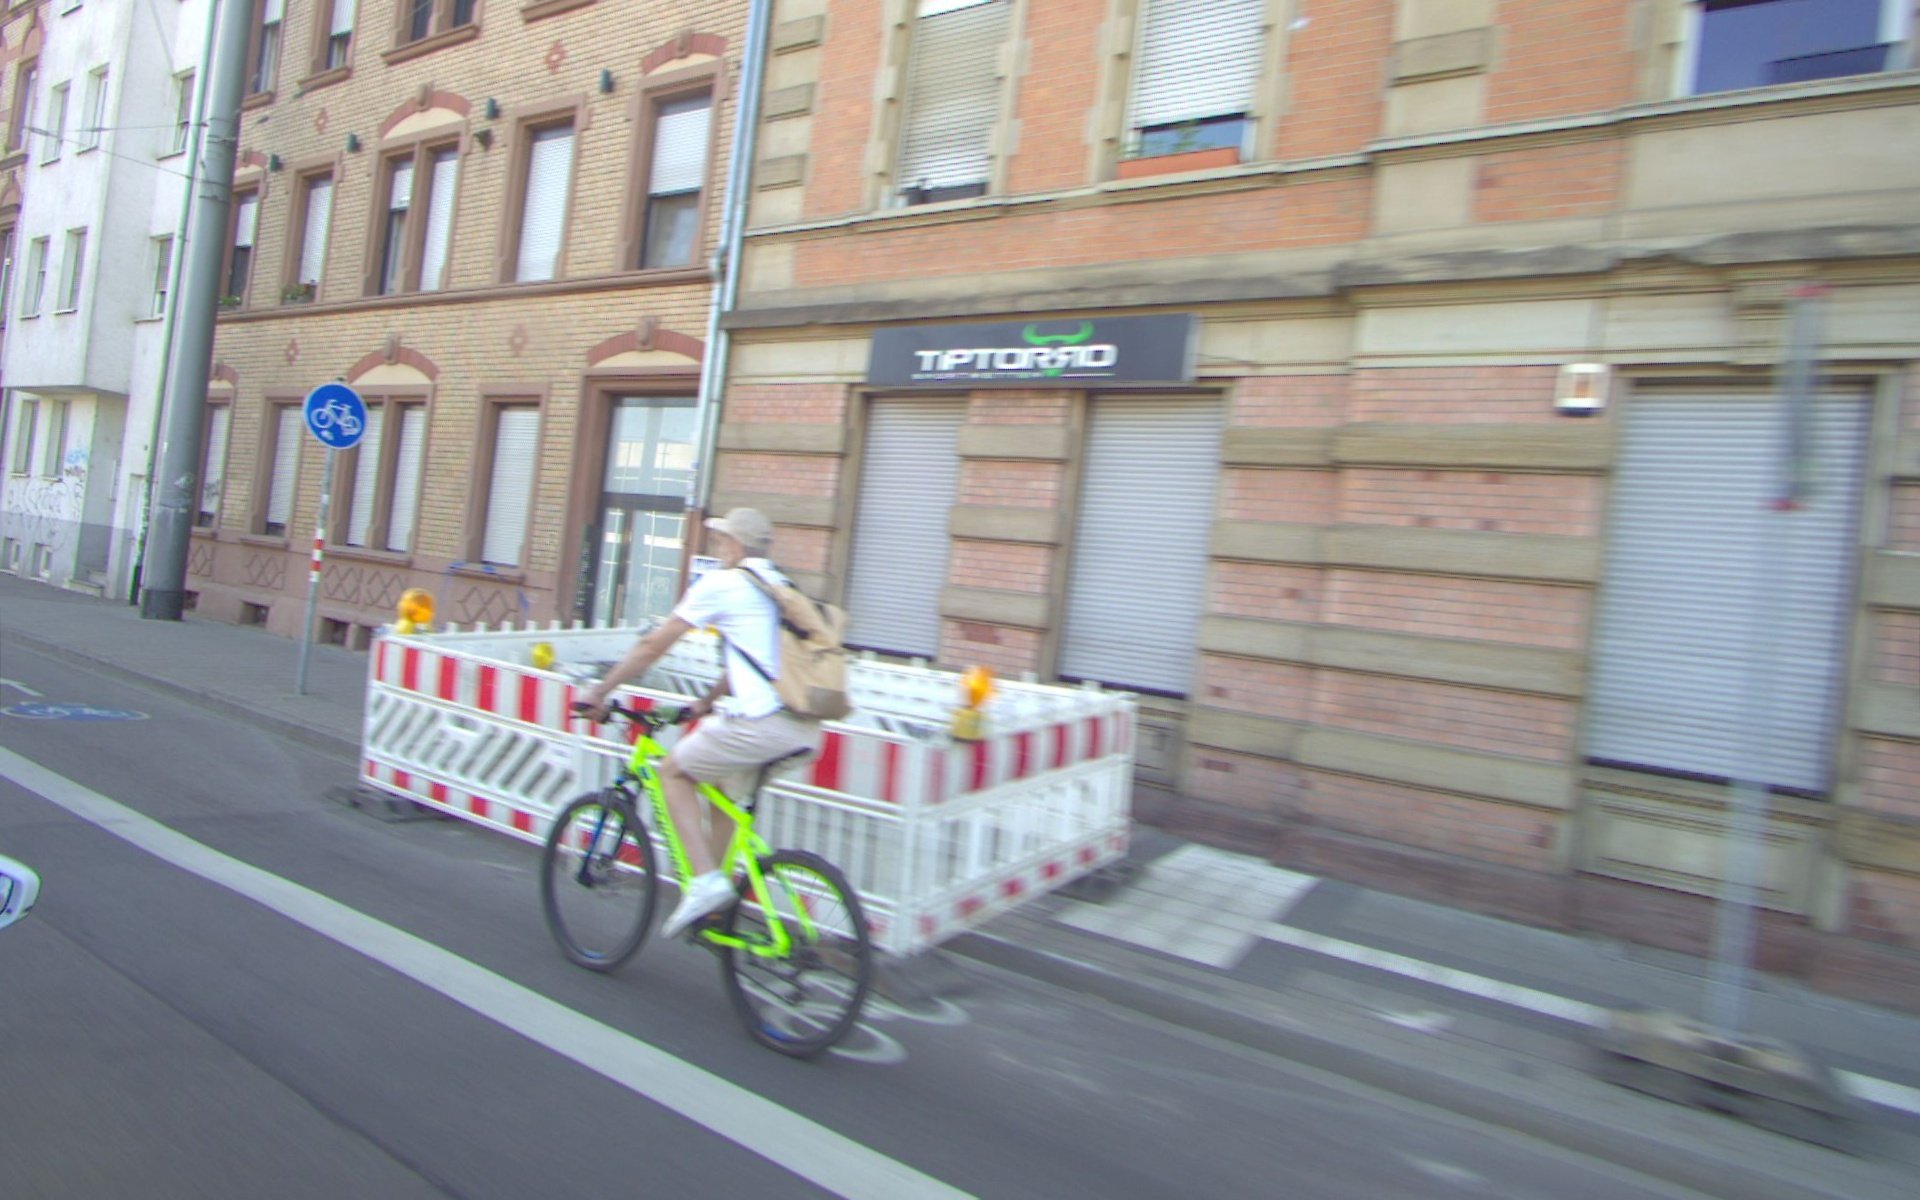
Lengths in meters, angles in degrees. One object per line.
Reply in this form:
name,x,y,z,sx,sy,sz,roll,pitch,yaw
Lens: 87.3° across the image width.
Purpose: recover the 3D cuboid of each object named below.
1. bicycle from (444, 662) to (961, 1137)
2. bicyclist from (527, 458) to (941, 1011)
bicycle,-1.022,0.956,3.730,1.901,1.130,0.533,8,-2,32
bicyclist,-0.818,0.415,3.702,1.101,1.702,0.683,6,-2,28
